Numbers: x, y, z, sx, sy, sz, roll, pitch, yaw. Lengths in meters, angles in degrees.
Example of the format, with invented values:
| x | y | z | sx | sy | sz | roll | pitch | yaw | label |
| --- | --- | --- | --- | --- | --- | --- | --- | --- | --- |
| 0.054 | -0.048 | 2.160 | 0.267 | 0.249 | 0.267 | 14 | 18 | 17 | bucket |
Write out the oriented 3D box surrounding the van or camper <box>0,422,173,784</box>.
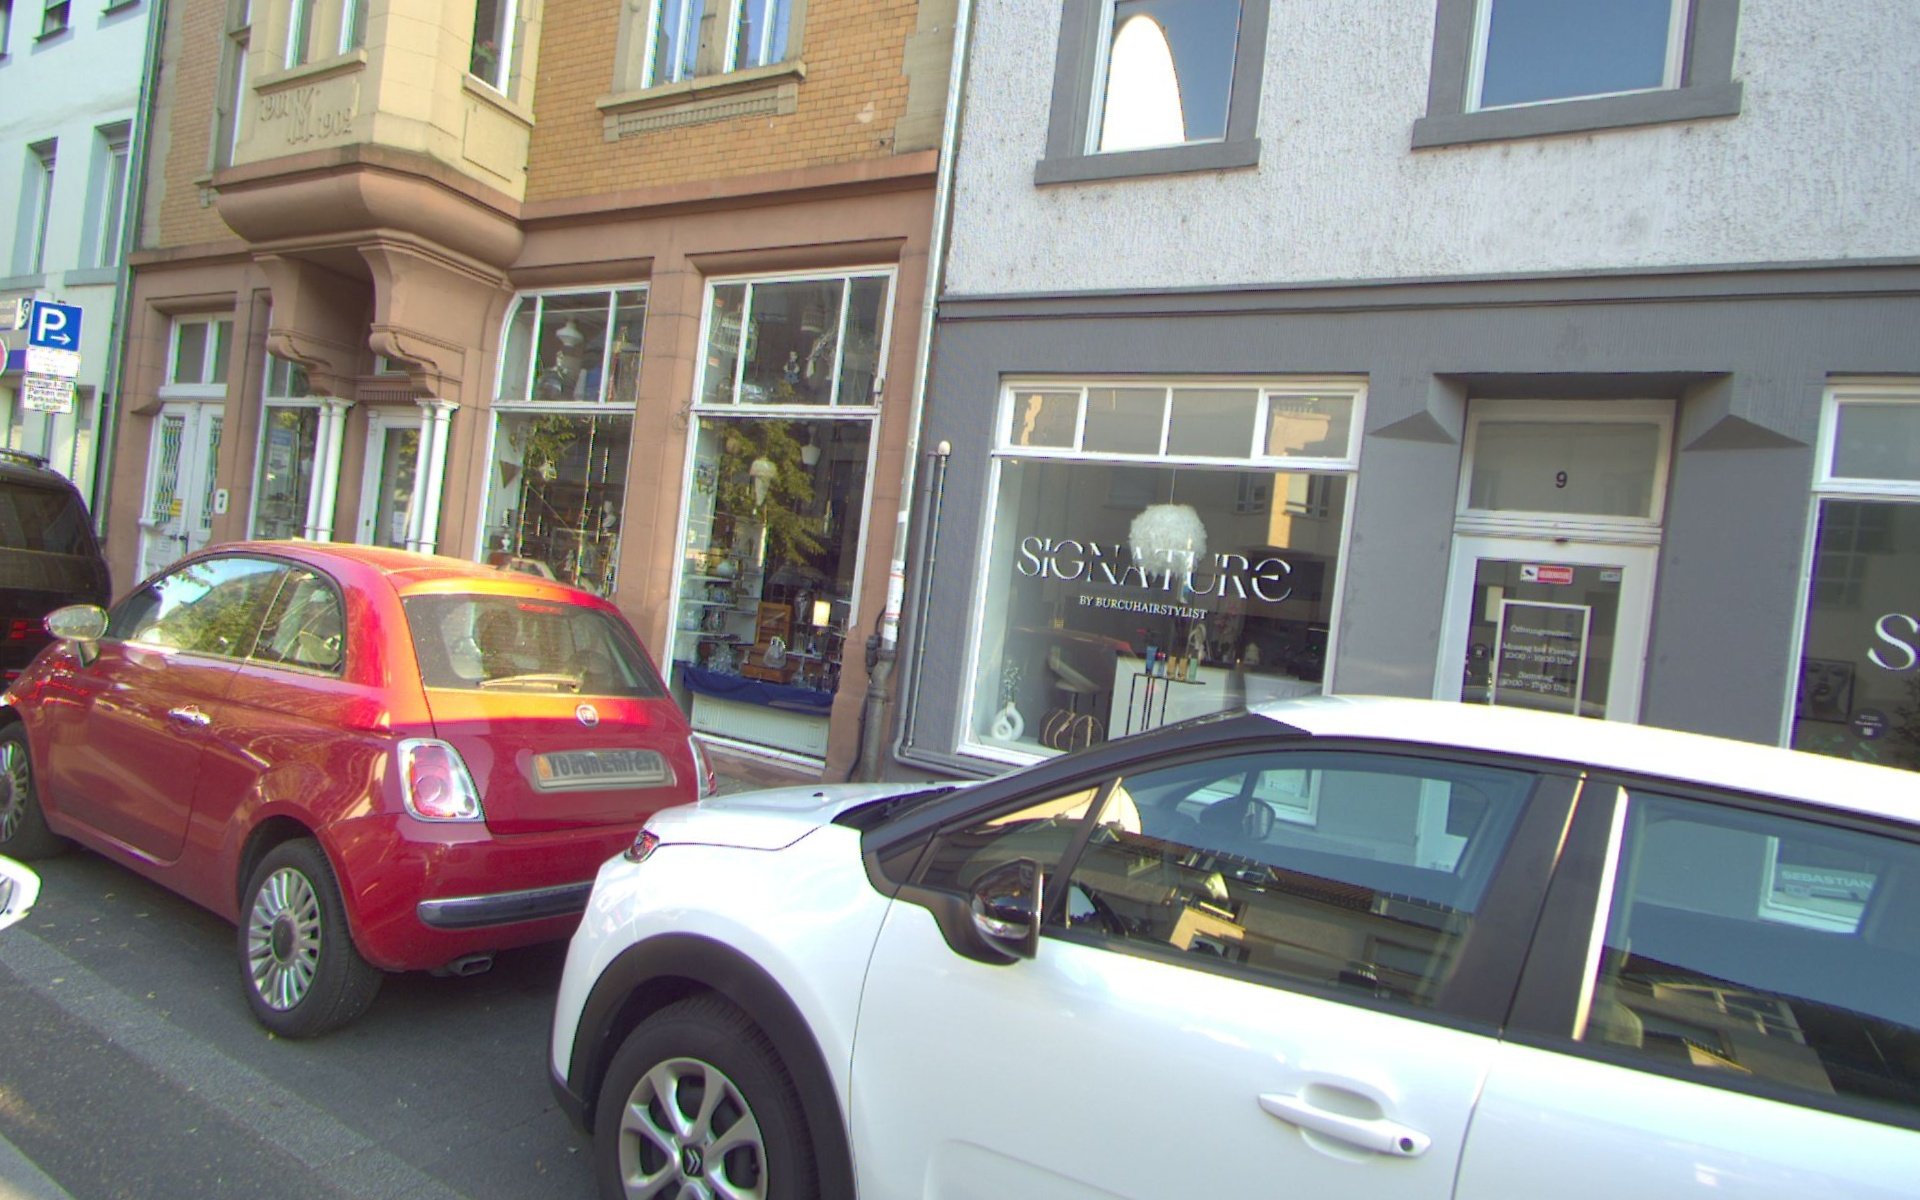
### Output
| x | y | z | sx | sy | sz | roll | pitch | yaw | label |
| --- | --- | --- | --- | --- | --- | --- | --- | --- | --- |
| -6.944 | -0.228 | 5.724 | 4.380 | 1.829 | 1.895 | 7 | -1 | 23 | van or camper |

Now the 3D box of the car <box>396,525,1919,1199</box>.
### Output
| x | y | z | sx | sy | sz | roll | pitch | yaw | label |
| --- | --- | --- | --- | --- | --- | --- | --- | --- | --- |
| 0.765 | 0.873 | 2.282 | 3.868 | 1.591 | 1.666 | 7 | -2 | 29 | car |

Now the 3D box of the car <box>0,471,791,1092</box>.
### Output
| x | y | z | sx | sy | sz | roll | pitch | yaw | label |
| --- | --- | --- | --- | --- | --- | --- | --- | --- | --- |
| -2.597 | 0.453 | 4.253 | 3.364 | 1.588 | 1.529 | 7 | -1 | 30 | car |
